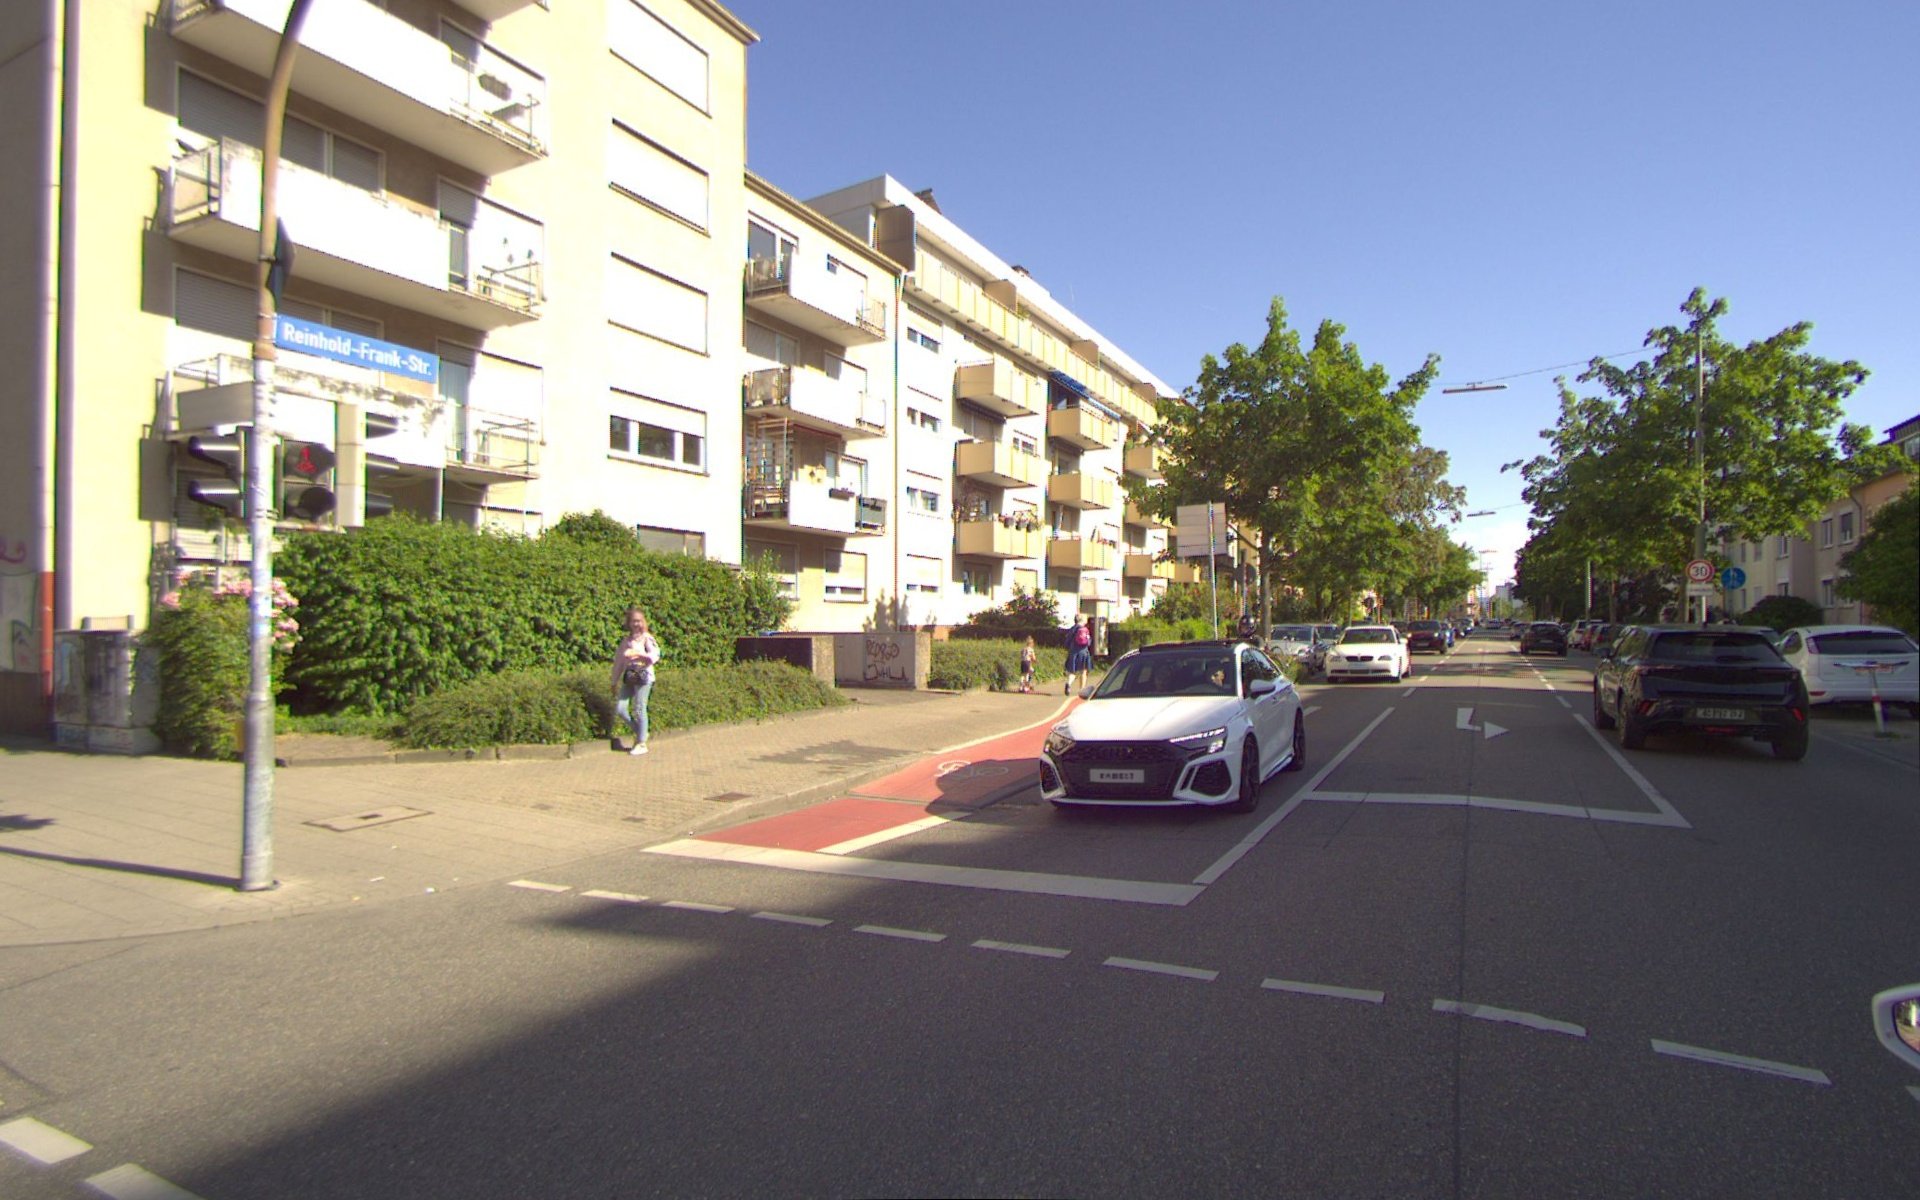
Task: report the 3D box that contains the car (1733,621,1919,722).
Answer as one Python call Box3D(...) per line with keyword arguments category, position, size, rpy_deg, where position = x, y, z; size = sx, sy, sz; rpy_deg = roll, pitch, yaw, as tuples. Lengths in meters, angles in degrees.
Box3D(category="car", position=(15.046, 1.155, 17.409), size=(1.881, 1.539, 3.995), rpy_deg=(-2, -2, 27))

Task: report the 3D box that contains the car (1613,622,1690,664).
Box3D(category="car", position=(26.314, 1.609, 38.349), size=(1.881, 1.448, 3.995), rpy_deg=(-3, -3, 27))

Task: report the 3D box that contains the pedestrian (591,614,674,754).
Box3D(category="pedestrian", position=(-3.911, 0.981, 12.026), size=(0.683, 1.617, 0.647), rpy_deg=(-1, -1, 26))

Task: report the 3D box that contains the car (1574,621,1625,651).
Box3D(category="car", position=(34.065, 1.906, 53.621), size=(1.881, 1.448, 3.995), rpy_deg=(-3, -3, 27))

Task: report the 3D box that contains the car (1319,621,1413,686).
Box3D(category="car", position=(11.032, 1.395, 27.129), size=(1.783, 1.579, 4.241), rpy_deg=(-3, -2, 29))

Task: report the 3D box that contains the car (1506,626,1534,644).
Box3D(category="car", position=(45.527, 2.845, 81.703), size=(1.809, 1.452, 4.172), rpy_deg=(-1, -2, 26))

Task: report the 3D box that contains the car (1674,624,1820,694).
Box3D(category="car", position=(18.211, 1.333, 23.449), size=(1.881, 1.448, 3.995), rpy_deg=(-3, -3, 27))

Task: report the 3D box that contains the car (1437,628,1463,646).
Box3D(category="car", position=(43.652, 3.283, 89.398), size=(1.783, 1.406, 4.241), rpy_deg=(-3, -3, 29))

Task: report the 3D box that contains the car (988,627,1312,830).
Box3D(category="car", position=(2.075, 1.064, 9.747), size=(1.899, 1.454, 4.262), rpy_deg=(-5, -3, 27))

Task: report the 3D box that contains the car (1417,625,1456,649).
Box3D(category="car", position=(28.700, 2.215, 60.490), size=(1.783, 1.299, 4.241), rpy_deg=(-3, -3, 29))

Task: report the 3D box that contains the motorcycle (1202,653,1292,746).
Box3D(category="motorcycle", position=(3.941, 1.321, 13.713), size=(0.736, 1.149, 1.680), rpy_deg=(-3, -3, 31))

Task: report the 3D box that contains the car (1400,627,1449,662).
Box3D(category="car", position=(22.598, 2.119, 48.817), size=(1.783, 1.579, 4.241), rpy_deg=(-3, -2, 29))

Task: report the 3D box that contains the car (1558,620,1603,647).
Box3D(category="car", position=(36.549, 1.955, 59.241), size=(1.881, 1.448, 3.995), rpy_deg=(-3, -3, 27))

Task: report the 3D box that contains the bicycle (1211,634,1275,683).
Box3D(category="bicycle", position=(7.254, 1.479, 25.800), size=(0.444, 1.175, 1.561), rpy_deg=(11, -8, -38))

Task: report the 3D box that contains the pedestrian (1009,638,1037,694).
Box3D(category="pedestrian", position=(1.345, 1.401, 21.490), size=(0.380, 1.161, 0.530), rpy_deg=(-1, -1, 32))

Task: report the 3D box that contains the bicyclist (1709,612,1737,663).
Box3D(category="bicyclist", position=(24.064, 1.170, 31.675), size=(0.545, 1.569, 0.813), rpy_deg=(0, 0, 27))

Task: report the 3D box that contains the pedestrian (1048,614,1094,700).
Box3D(category="pedestrian", position=(2.283, 1.148, 20.616), size=(0.565, 1.705, 0.966), rpy_deg=(-1, -1, 34))

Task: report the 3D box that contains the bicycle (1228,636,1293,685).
Box3D(category="bicycle", position=(7.741, 1.559, 25.920), size=(0.444, 1.175, 1.561), rpy_deg=(11, -8, -38))

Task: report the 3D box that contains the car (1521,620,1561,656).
Box3D(category="car", position=(27.102, 1.787, 46.914), size=(1.569, 1.586, 4.082), rpy_deg=(0, -2, 30))

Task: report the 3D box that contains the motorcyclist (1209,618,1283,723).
Box3D(category="motorcyclist", position=(3.901, 0.952, 13.688), size=(0.744, 1.374, 0.790), rpy_deg=(-3, -2, 31))

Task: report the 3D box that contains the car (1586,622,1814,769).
Box3D(category="car", position=(9.365, 1.077, 13.052), size=(1.735, 1.579, 3.995), rpy_deg=(0, -1, 27))

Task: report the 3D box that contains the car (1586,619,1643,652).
Box3D(category="car", position=(31.832, 1.723, 48.944), size=(1.881, 1.448, 3.995), rpy_deg=(-3, -3, 27))

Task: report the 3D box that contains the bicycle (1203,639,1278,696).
Box3D(category="bicycle", position=(6.447, 1.543, 23.136), size=(0.444, 1.176, 1.561), rpy_deg=(-17, 10, -38))
